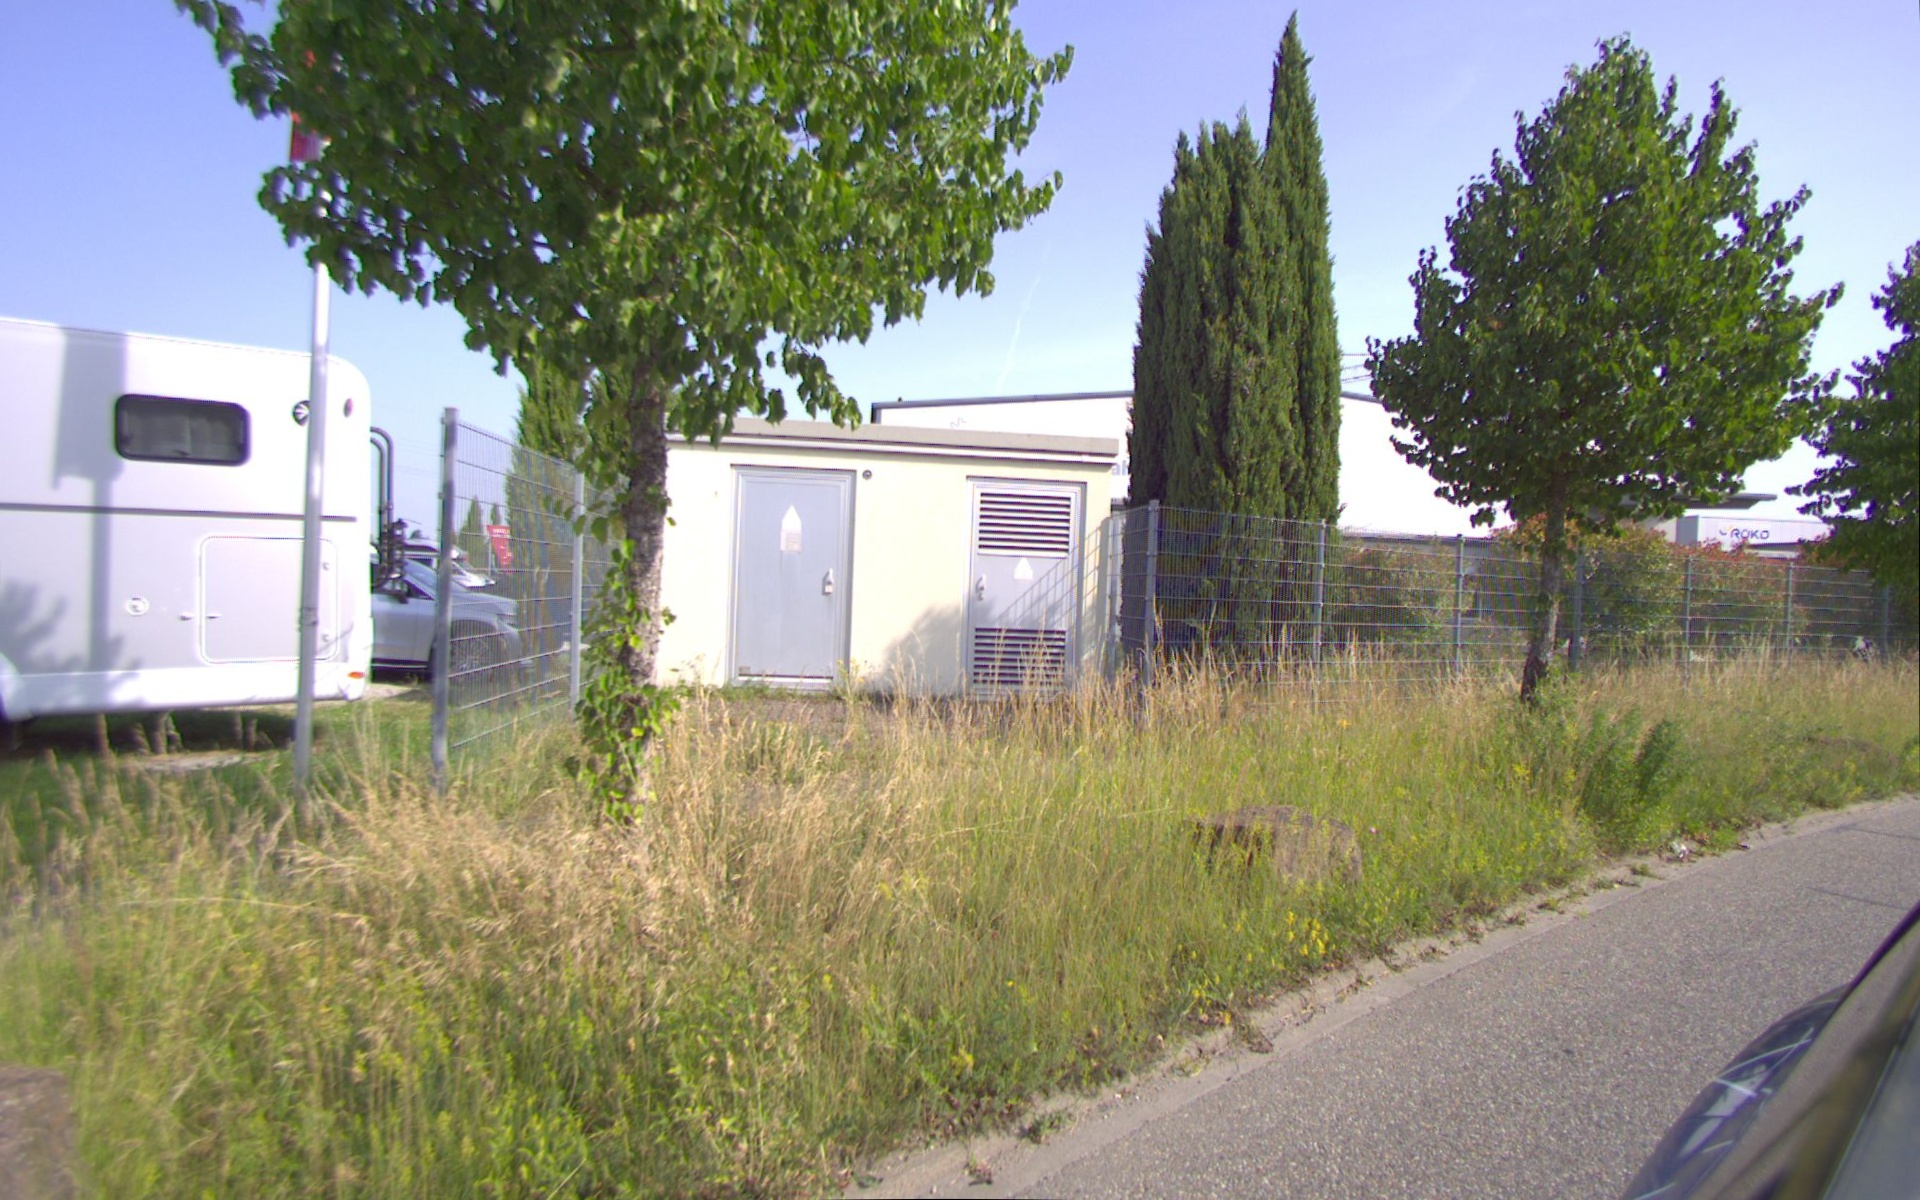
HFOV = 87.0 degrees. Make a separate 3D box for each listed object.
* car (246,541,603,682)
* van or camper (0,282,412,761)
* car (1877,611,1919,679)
[{"bbox_3d":[-7.106,0.178,13.835,3.917,1.664,1.731,2,-1,-10],"label":"car"},{"bbox_3d":[-7.610,-0.508,6.207,7.204,2.883,2.356,0,1,-36],"label":"van or camper"},{"bbox_3d":[22.246,1.038,21.225,4.675,1.375,1.890,2,1,-8],"label":"car"}]
